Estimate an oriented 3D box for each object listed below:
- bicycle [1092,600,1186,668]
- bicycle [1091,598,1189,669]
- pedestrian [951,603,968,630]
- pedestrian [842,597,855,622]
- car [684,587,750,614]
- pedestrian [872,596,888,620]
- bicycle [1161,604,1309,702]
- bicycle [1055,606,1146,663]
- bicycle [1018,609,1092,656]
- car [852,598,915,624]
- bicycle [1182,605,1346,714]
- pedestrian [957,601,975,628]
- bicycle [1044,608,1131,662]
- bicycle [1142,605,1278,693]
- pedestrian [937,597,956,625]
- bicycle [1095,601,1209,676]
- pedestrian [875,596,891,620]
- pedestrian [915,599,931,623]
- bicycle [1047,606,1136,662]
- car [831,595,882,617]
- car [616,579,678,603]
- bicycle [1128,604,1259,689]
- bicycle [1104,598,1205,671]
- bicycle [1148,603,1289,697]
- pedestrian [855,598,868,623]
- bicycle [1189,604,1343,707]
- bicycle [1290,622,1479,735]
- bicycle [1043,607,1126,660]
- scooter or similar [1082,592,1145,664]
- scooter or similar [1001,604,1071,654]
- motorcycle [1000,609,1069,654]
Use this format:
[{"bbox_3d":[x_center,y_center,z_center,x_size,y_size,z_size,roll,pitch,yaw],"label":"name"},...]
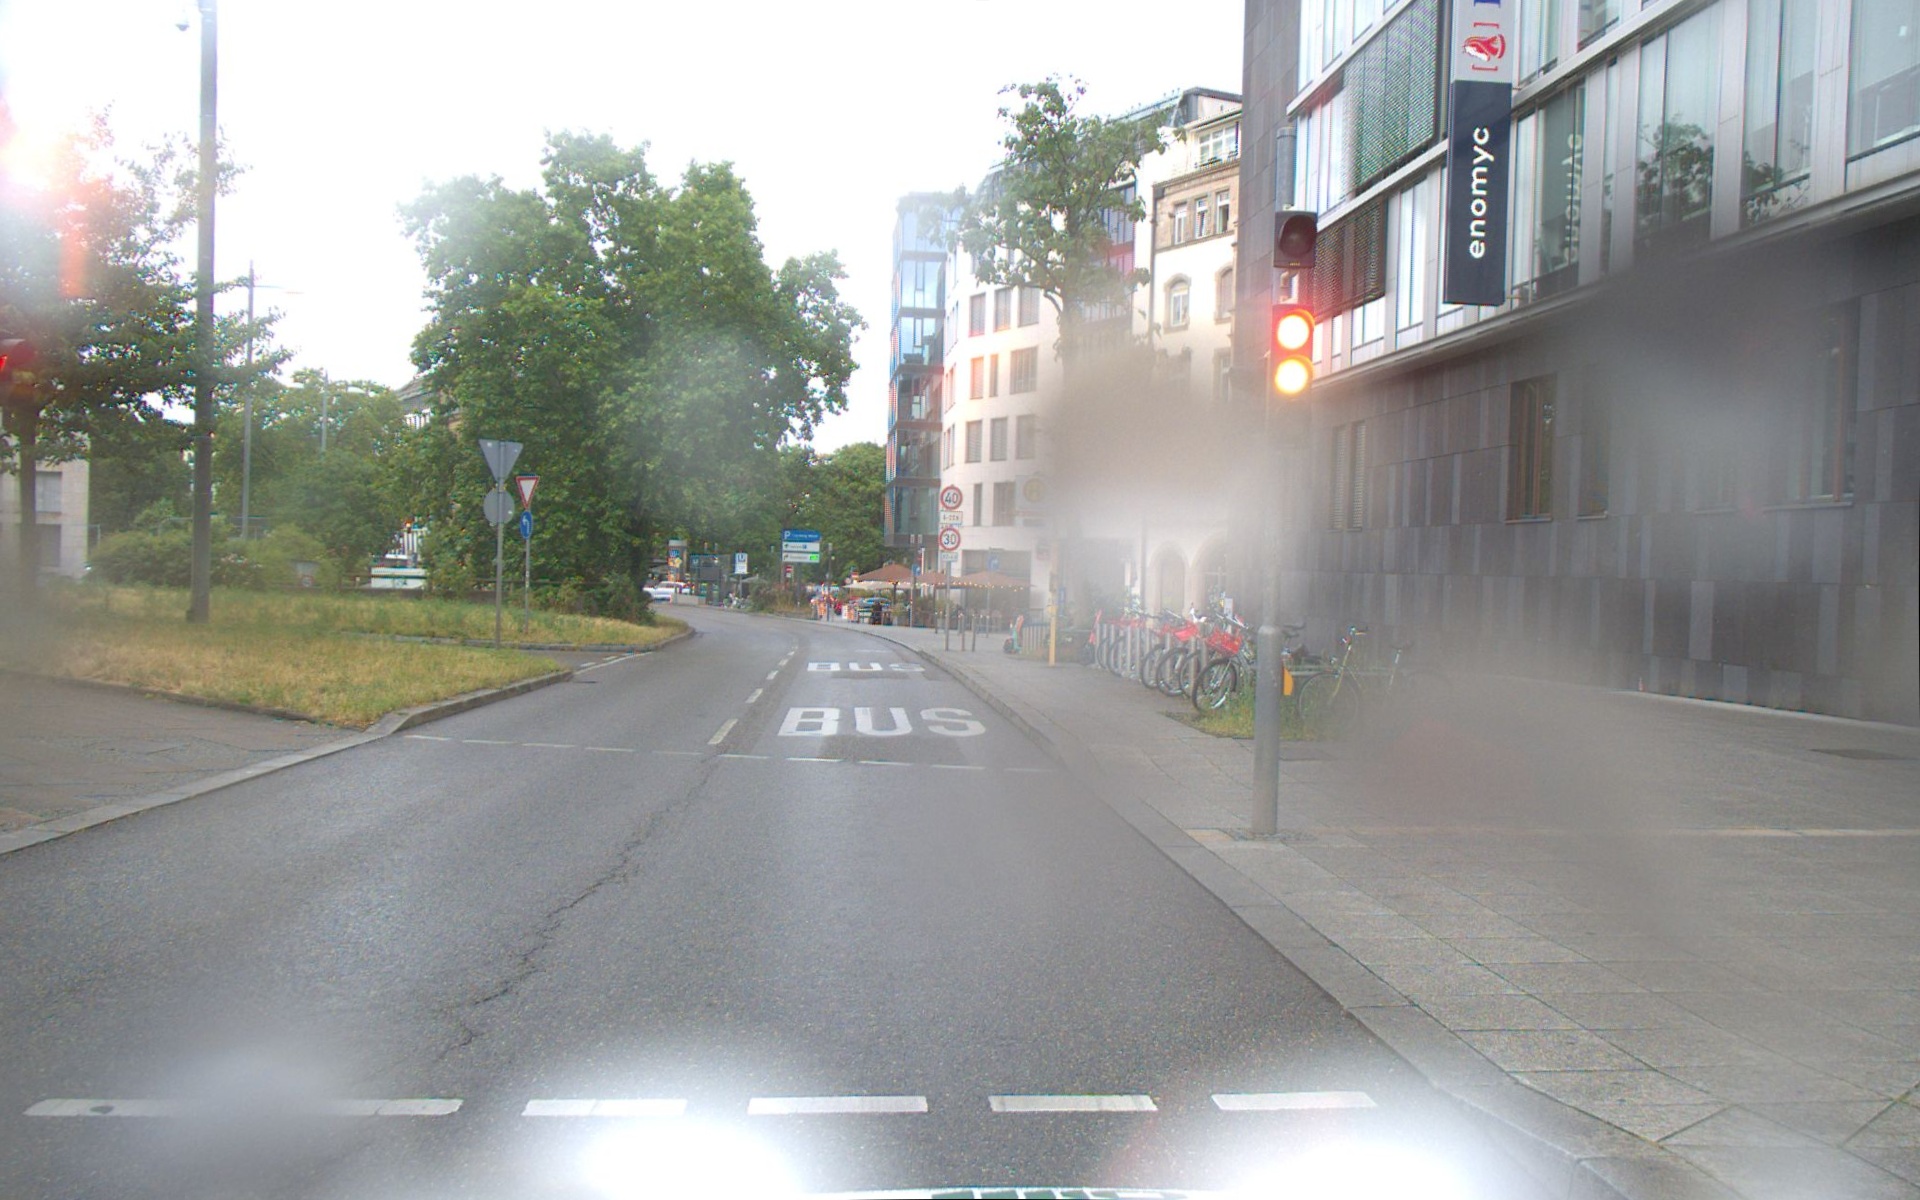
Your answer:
[{"bbox_3d":[3.136,0.596,29.001,1.507,1.160,0.661,2,-1,-11],"label":"bicycle"},{"bbox_3d":[3.061,0.576,28.149,1.507,1.160,0.687,2,-1,-11],"label":"bicycle"},{"bbox_3d":[-0.025,0.865,87.416,0.620,1.349,0.630,4,-1,-29],"label":"pedestrian"},{"bbox_3d":[-6.312,0.532,93.664,0.595,1.349,0.566,4,-1,-9],"label":"pedestrian"},{"bbox_3d":[-17.825,0.034,121.401,4.643,1.720,2.003,3,0,-5],"label":"car"},{"bbox_3d":[-4.658,0.456,96.780,0.802,1.349,0.634,4,-1,-9],"label":"pedestrian"},{"bbox_3d":[3.459,0.659,20.832,1.698,1.204,0.687,1,0,-11],"label":"bicycle"},{"bbox_3d":[2.931,0.724,34.519,1.761,1.087,0.555,3,-1,-10],"label":"bicycle"},{"bbox_3d":[2.440,0.841,42.657,1.762,1.127,0.668,3,-1,-11],"label":"bicycle"},{"bbox_3d":[-5.764,0.819,124.322,4.643,1.720,2.003,3,0,-5],"label":"car"},{"bbox_3d":[3.458,0.669,18.851,1.698,1.204,0.687,1,0,-11],"label":"bicycle"},{"bbox_3d":[0.313,0.747,86.157,0.620,1.349,0.630,4,-1,-29],"label":"pedestrian"},{"bbox_3d":[2.778,0.757,36.068,1.761,1.087,0.555,3,-1,-10],"label":"bicycle"},{"bbox_3d":[3.412,0.668,22.623,1.698,1.160,0.687,1,0,-11],"label":"bicycle"},{"bbox_3d":[-0.644,0.542,80.855,0.759,1.349,0.634,4,-1,-9],"label":"pedestrian"},{"bbox_3d":[3.079,0.619,26.562,1.675,1.160,0.687,2,-1,-11],"label":"bicycle"},{"bbox_3d":[-4.446,0.471,95.830,0.802,1.349,0.634,4,-1,-9],"label":"pedestrian"},{"bbox_3d":[-2.141,0.653,96.196,0.802,1.349,0.634,4,-1,-9],"label":"pedestrian"},{"bbox_3d":[2.795,0.726,35.230,1.761,1.087,0.555,3,-1,-10],"label":"bicycle"},{"bbox_3d":[-8.261,0.464,131.669,3.928,1.536,1.790,3,1,41],"label":"car"},{"bbox_3d":[-24.044,-0.667,127.188,4.239,1.695,1.955,2,-1,8],"label":"car"},{"bbox_3d":[3.299,0.655,23.435,1.698,1.160,0.687,1,0,-11],"label":"bicycle"},{"bbox_3d":[3.220,0.573,27.385,1.507,1.160,0.687,2,-1,-11],"label":"bicycle"},{"bbox_3d":[3.394,0.653,21.765,1.698,1.204,0.687,1,0,-11],"label":"bicycle"},{"bbox_3d":[-5.569,0.597,93.818,0.595,1.349,0.566,4,-1,-9],"label":"pedestrian"},{"bbox_3d":[3.695,0.666,19.996,1.698,1.204,0.687,1,0,-11],"label":"bicycle"},{"bbox_3d":[4.227,0.775,16.522,1.698,1.089,0.687,1,0,-11],"label":"bicycle"},{"bbox_3d":[2.851,0.769,38.014,1.762,1.127,0.668,3,-1,-11],"label":"bicycle"},{"bbox_3d":[2.802,0.515,30.137,1.086,1.280,0.302,2,-1,-12],"label":"scooter or similar"},{"bbox_3d":[2.063,0.794,44.719,1.759,1.265,0.594,3,-1,-10],"label":"scooter or similar"},{"bbox_3d":[2.049,0.868,45.502,1.759,1.159,0.594,3,-1,-10],"label":"motorcycle"}]
